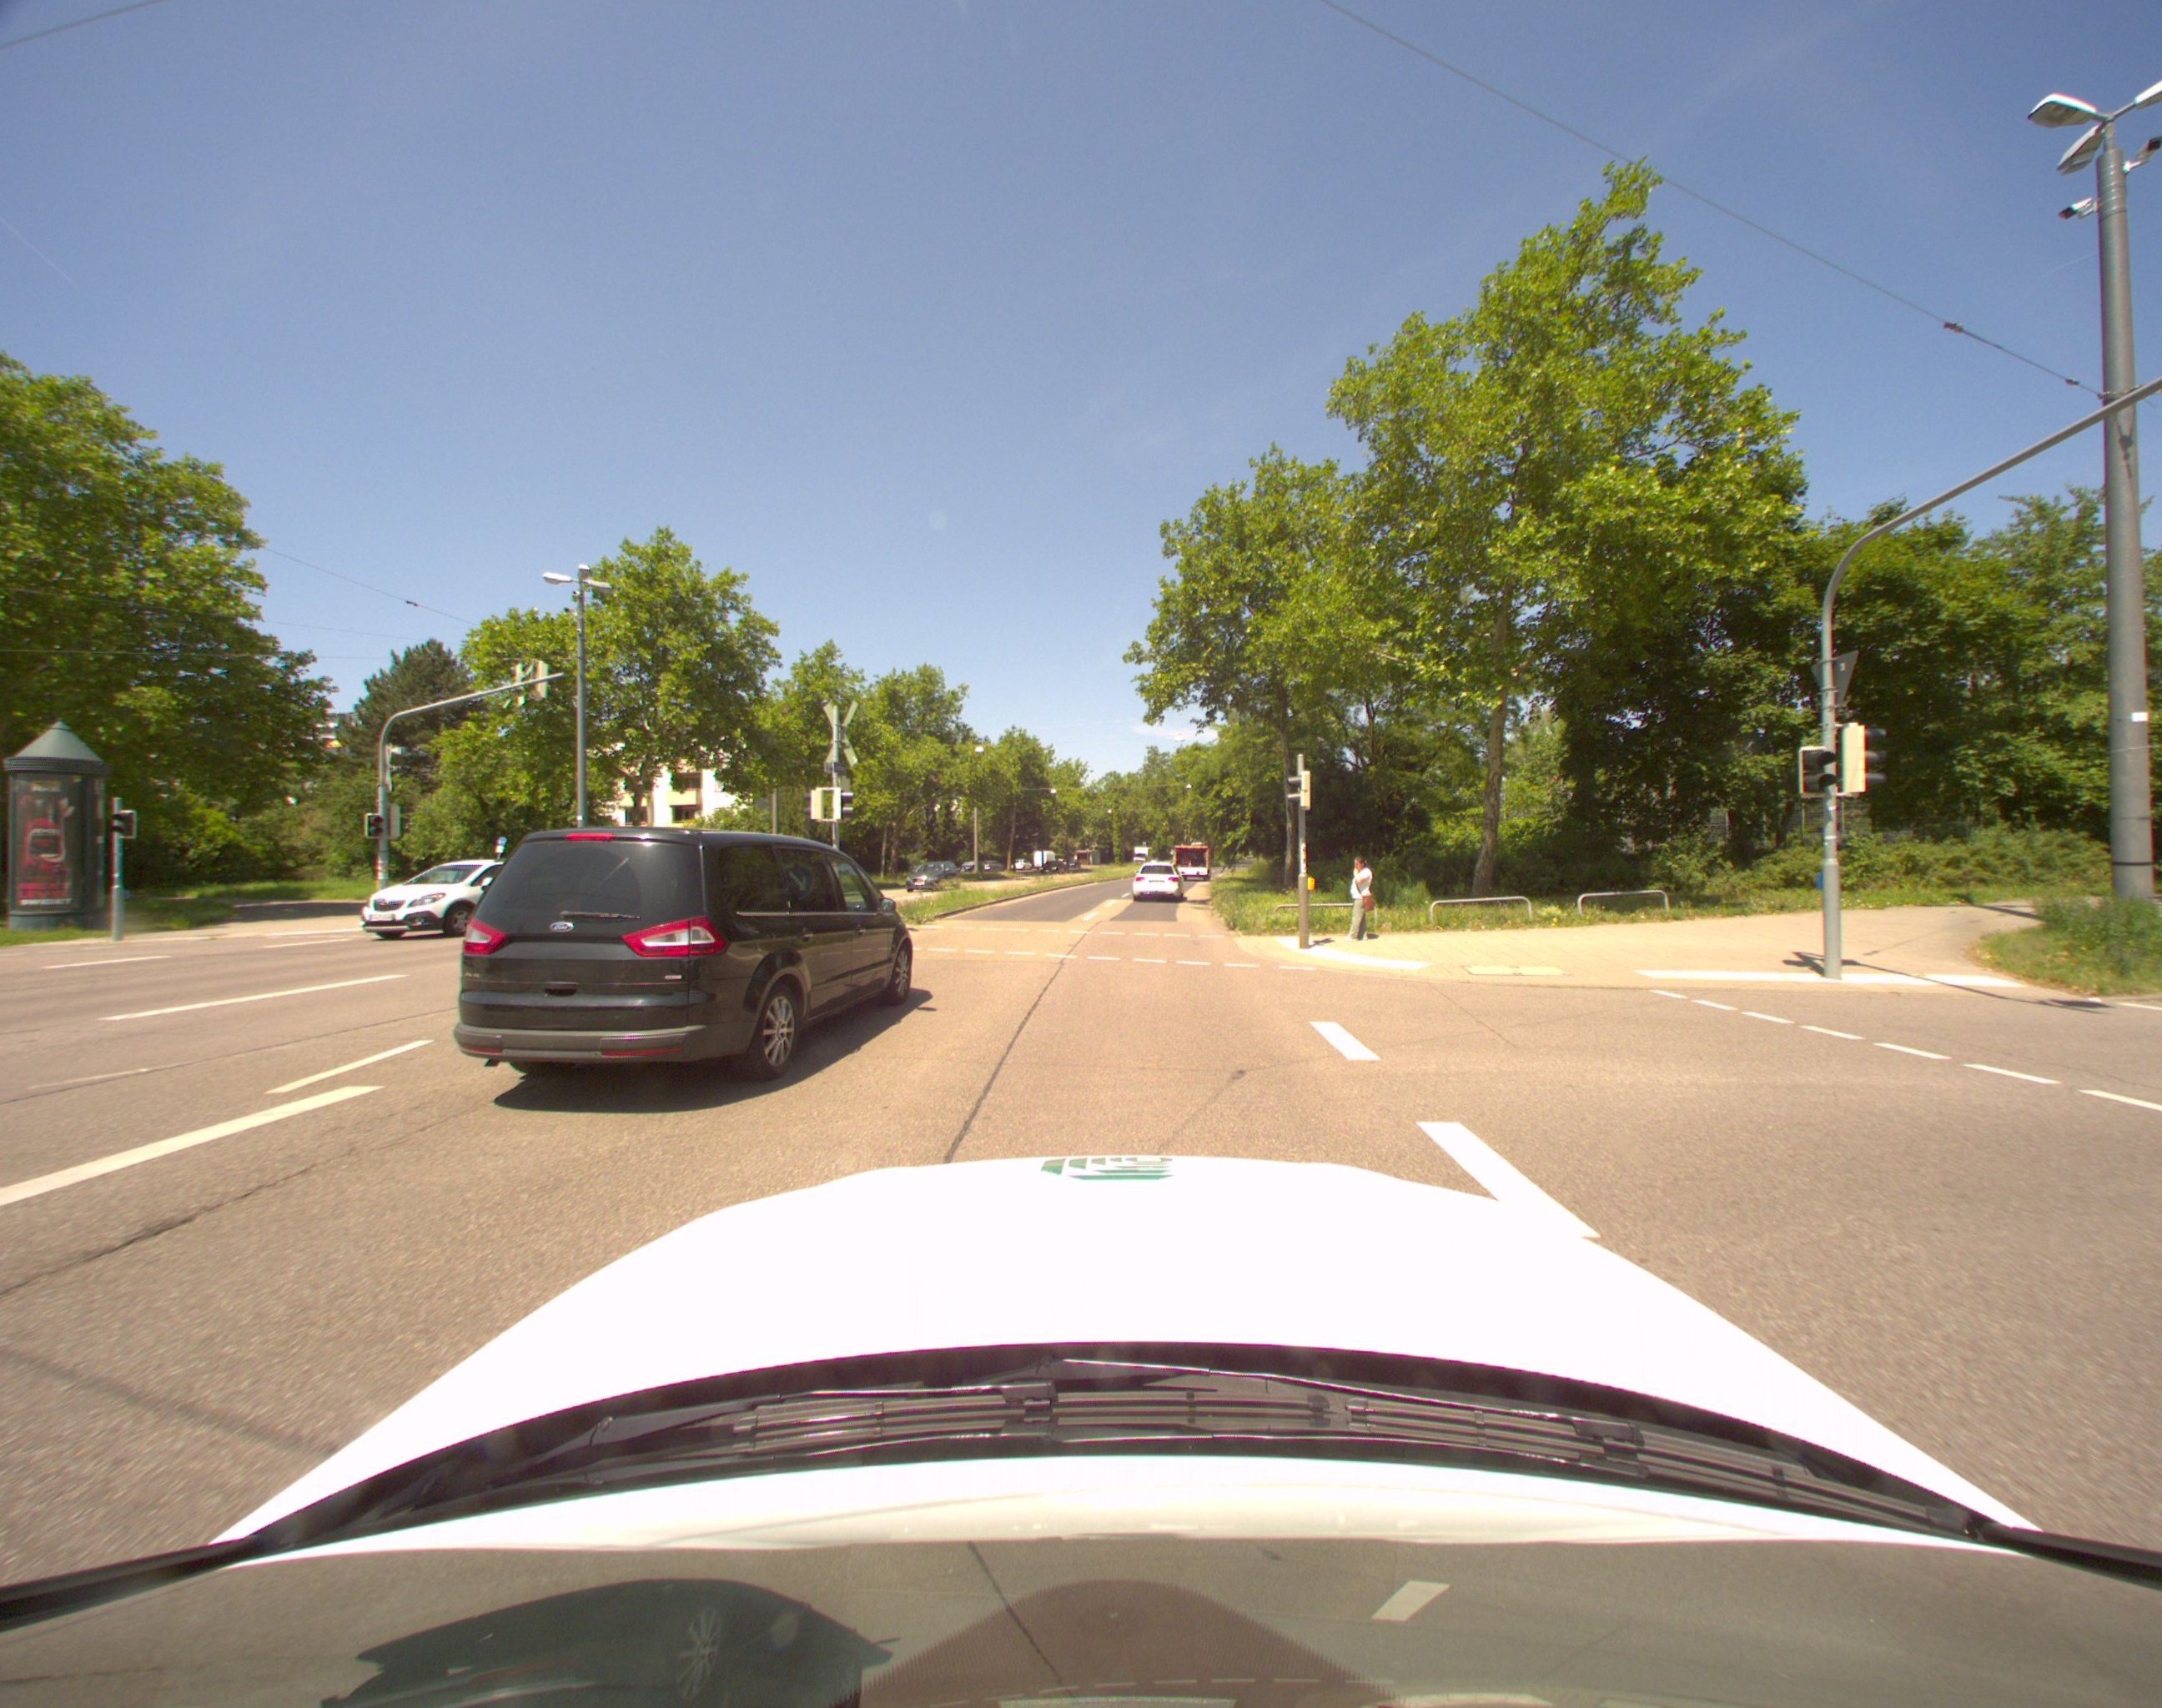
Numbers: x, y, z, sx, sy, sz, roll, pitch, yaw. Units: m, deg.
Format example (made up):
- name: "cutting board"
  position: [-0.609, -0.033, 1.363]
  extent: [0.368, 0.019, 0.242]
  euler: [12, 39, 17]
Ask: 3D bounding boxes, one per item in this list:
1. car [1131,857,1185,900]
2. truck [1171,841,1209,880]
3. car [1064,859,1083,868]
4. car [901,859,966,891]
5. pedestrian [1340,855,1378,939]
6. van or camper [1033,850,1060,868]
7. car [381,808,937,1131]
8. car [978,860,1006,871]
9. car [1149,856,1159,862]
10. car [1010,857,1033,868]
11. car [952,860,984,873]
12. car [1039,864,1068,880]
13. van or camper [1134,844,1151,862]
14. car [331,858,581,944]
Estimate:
- name: "car"
  position: [2.923, 0.858, 30.220]
  extent: [1.752, 1.445, 3.625]
  euler: [1, 0, 9]
- name: "truck"
  position: [7.863, 0.392, 58.387]
  extent: [2.497, 2.559, 7.621]
  euler: [1, 1, 8]
- name: "car"
  position: [-1.190, 1.530, 130.143]
  extent: [1.813, 1.391, 3.966]
  euler: [-1, 0, 19]
- name: "car"
  position: [-7.130, 0.981, 39.737]
  extent: [1.725, 1.395, 4.189]
  euler: [-3, -1, 10]
- name: "pedestrian"
  position: [4.996, 0.756, 14.660]
  extent: [0.549, 1.484, 0.632]
  euler: [-1, 0, 12]
- name: "van or camper"
  position: [-4.992, 0.672, 118.149]
  extent: [2.165, 2.587, 5.332]
  euler: [-1, 0, 17]
- name: "car"
  position: [-2.778, 0.620, 6.835]
  extent: [1.844, 1.755, 4.657]
  euler: [0, 0, 6]
- name: "car"
  position: [-10.877, 1.398, 99.559]
  extent: [1.866, 1.376, 4.020]
  euler: [-1, 0, 20]
- name: "car"
  position: [15.381, 0.961, 170.962]
  extent: [1.904, 1.210, 4.343]
  euler: [-1, 0, 6]
- name: "car"
  position: [-7.932, 1.091, 109.047]
  extent: [1.867, 1.474, 4.017]
  euler: [-1, 0, 16]
- name: "car"
  position: [-13.038, 1.416, 94.218]
  extent: [1.865, 1.393, 4.022]
  euler: [-1, 0, 22]
- name: "car"
  position: [-2.708, 1.762, 80.768]
  extent: [1.800, 1.507, 4.609]
  euler: [-1, 0, 12]
- name: "van or camper"
  position: [11.789, -0.137, 156.639]
  extent: [2.644, 3.331, 5.516]
  euler: [-1, 0, 10]
- name: "car"
  position: [-13.650, 0.941, 18.195]
  extent: [1.777, 1.615, 4.414]
  euler: [-1, 0, 8]
